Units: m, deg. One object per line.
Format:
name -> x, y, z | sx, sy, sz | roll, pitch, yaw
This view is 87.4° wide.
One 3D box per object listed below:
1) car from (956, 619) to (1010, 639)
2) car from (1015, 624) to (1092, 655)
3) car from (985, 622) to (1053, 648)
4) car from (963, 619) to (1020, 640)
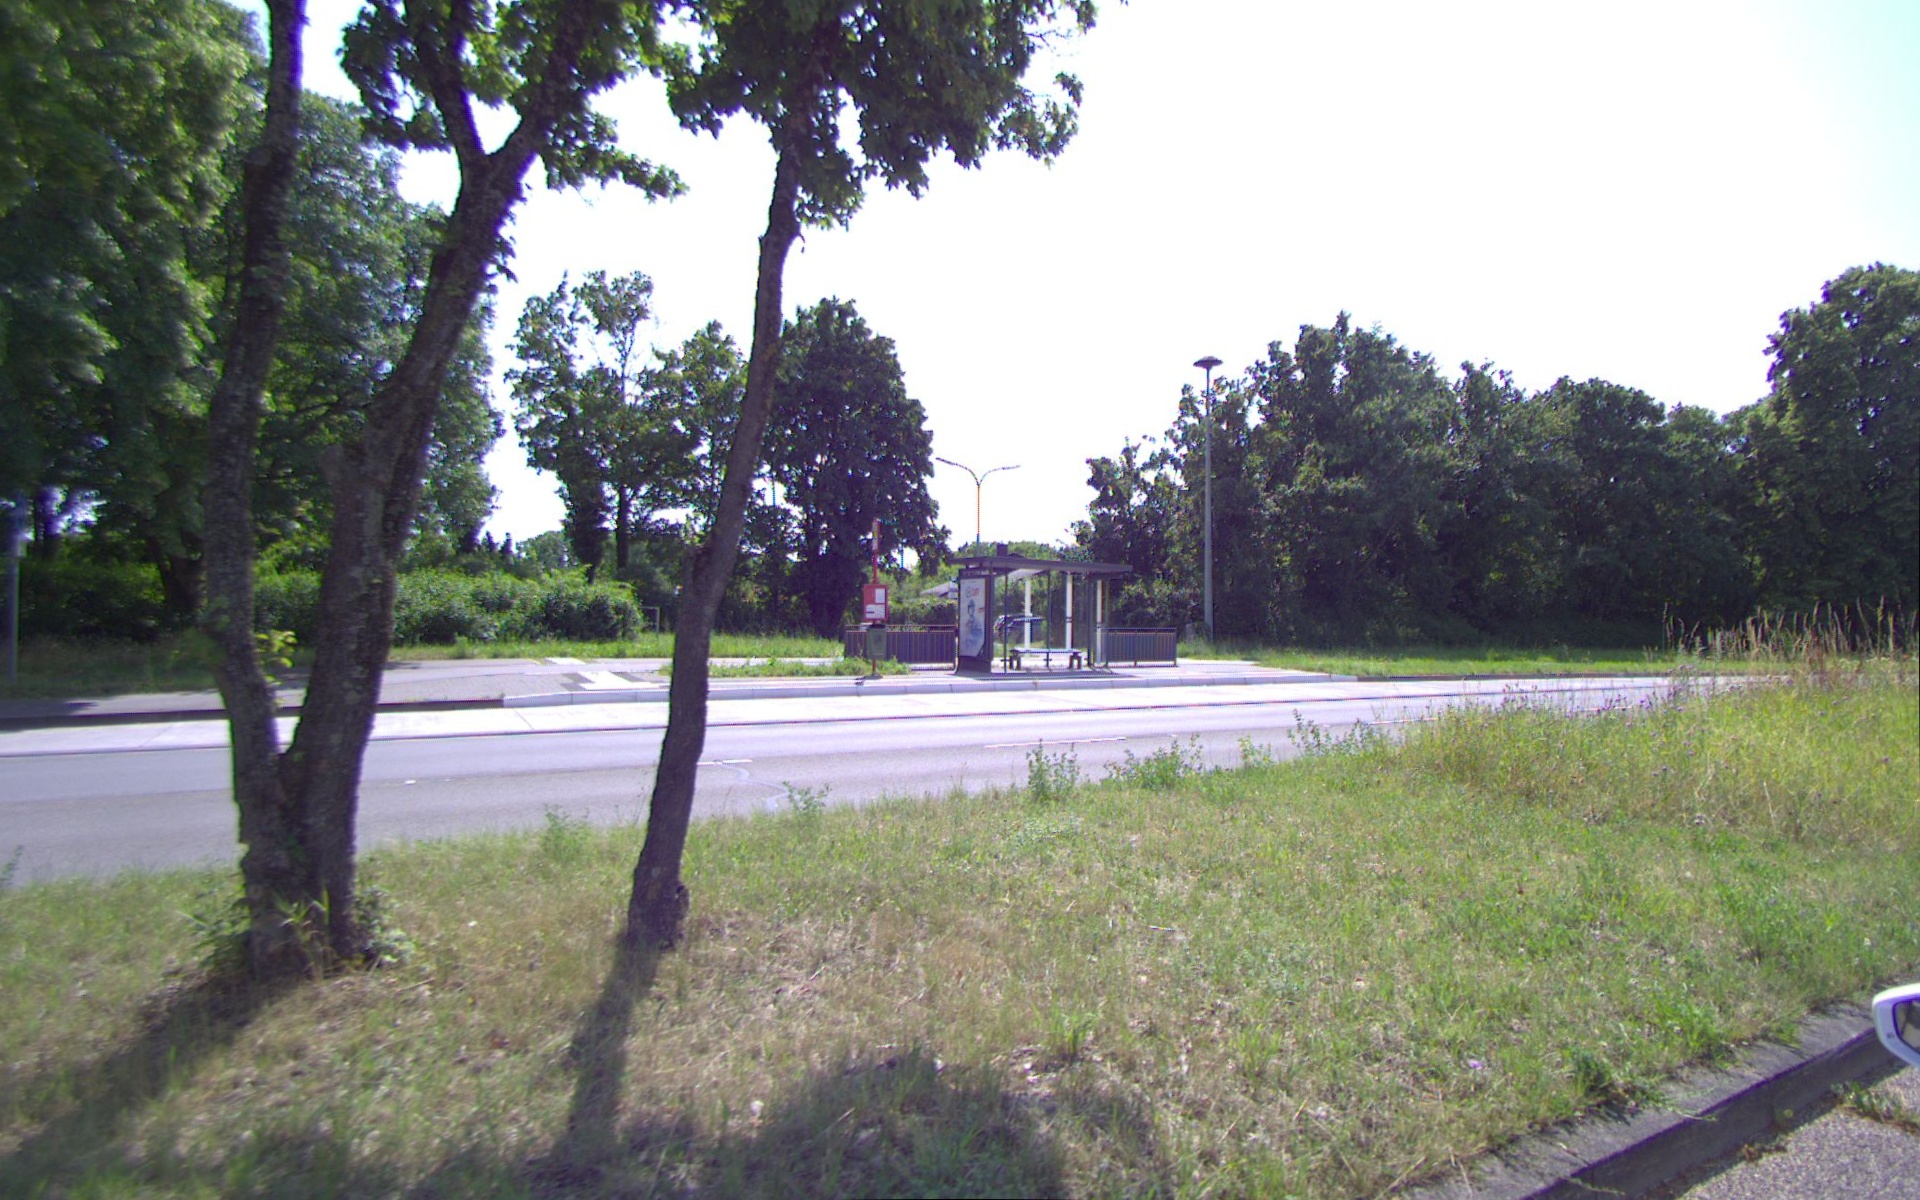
car -> 1.766, 2.200, 76.300 | 3.919, 1.439, 1.840 | 1, 0, 10
car -> 4.921, 2.047, 52.830 | 3.919, 1.528, 1.761 | 1, 0, 6
car -> 3.615, 2.108, 60.866 | 3.919, 1.439, 2.001 | 1, 0, 10
car -> 2.345, 2.160, 73.868 | 3.919, 1.439, 1.840 | 1, 0, 10
